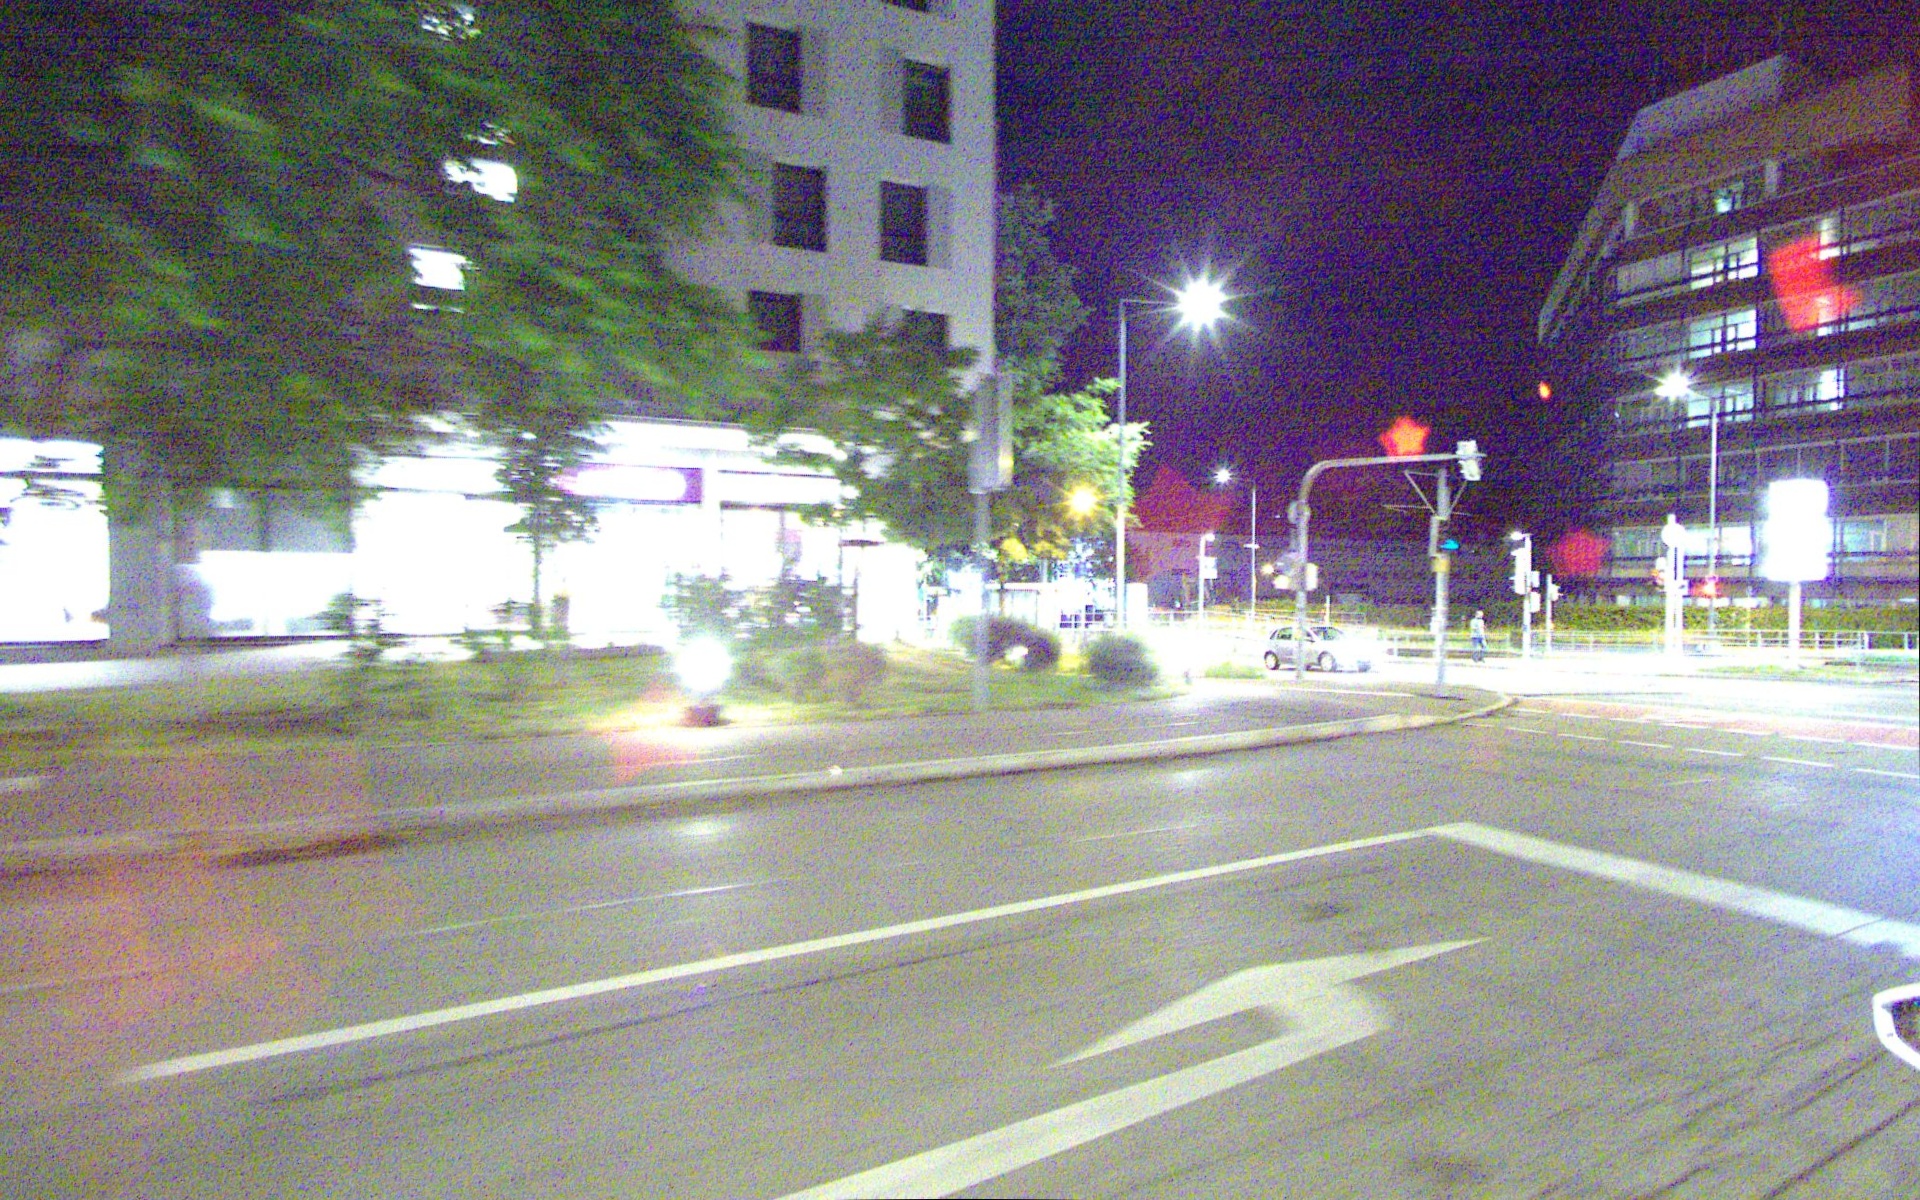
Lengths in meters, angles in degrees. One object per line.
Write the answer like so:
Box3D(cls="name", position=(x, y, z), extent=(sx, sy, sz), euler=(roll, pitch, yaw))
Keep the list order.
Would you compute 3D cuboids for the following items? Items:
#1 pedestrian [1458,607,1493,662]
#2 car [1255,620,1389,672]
Box3D(cls="pedestrian", position=(16.882, 1.125, 32.891), extent=(0.651, 1.760, 0.761), euler=(-1, -1, -30))
Box3D(cls="car", position=(11.179, 1.391, 31.254), extent=(1.882, 1.500, 3.754), euler=(1, -1, -23))
